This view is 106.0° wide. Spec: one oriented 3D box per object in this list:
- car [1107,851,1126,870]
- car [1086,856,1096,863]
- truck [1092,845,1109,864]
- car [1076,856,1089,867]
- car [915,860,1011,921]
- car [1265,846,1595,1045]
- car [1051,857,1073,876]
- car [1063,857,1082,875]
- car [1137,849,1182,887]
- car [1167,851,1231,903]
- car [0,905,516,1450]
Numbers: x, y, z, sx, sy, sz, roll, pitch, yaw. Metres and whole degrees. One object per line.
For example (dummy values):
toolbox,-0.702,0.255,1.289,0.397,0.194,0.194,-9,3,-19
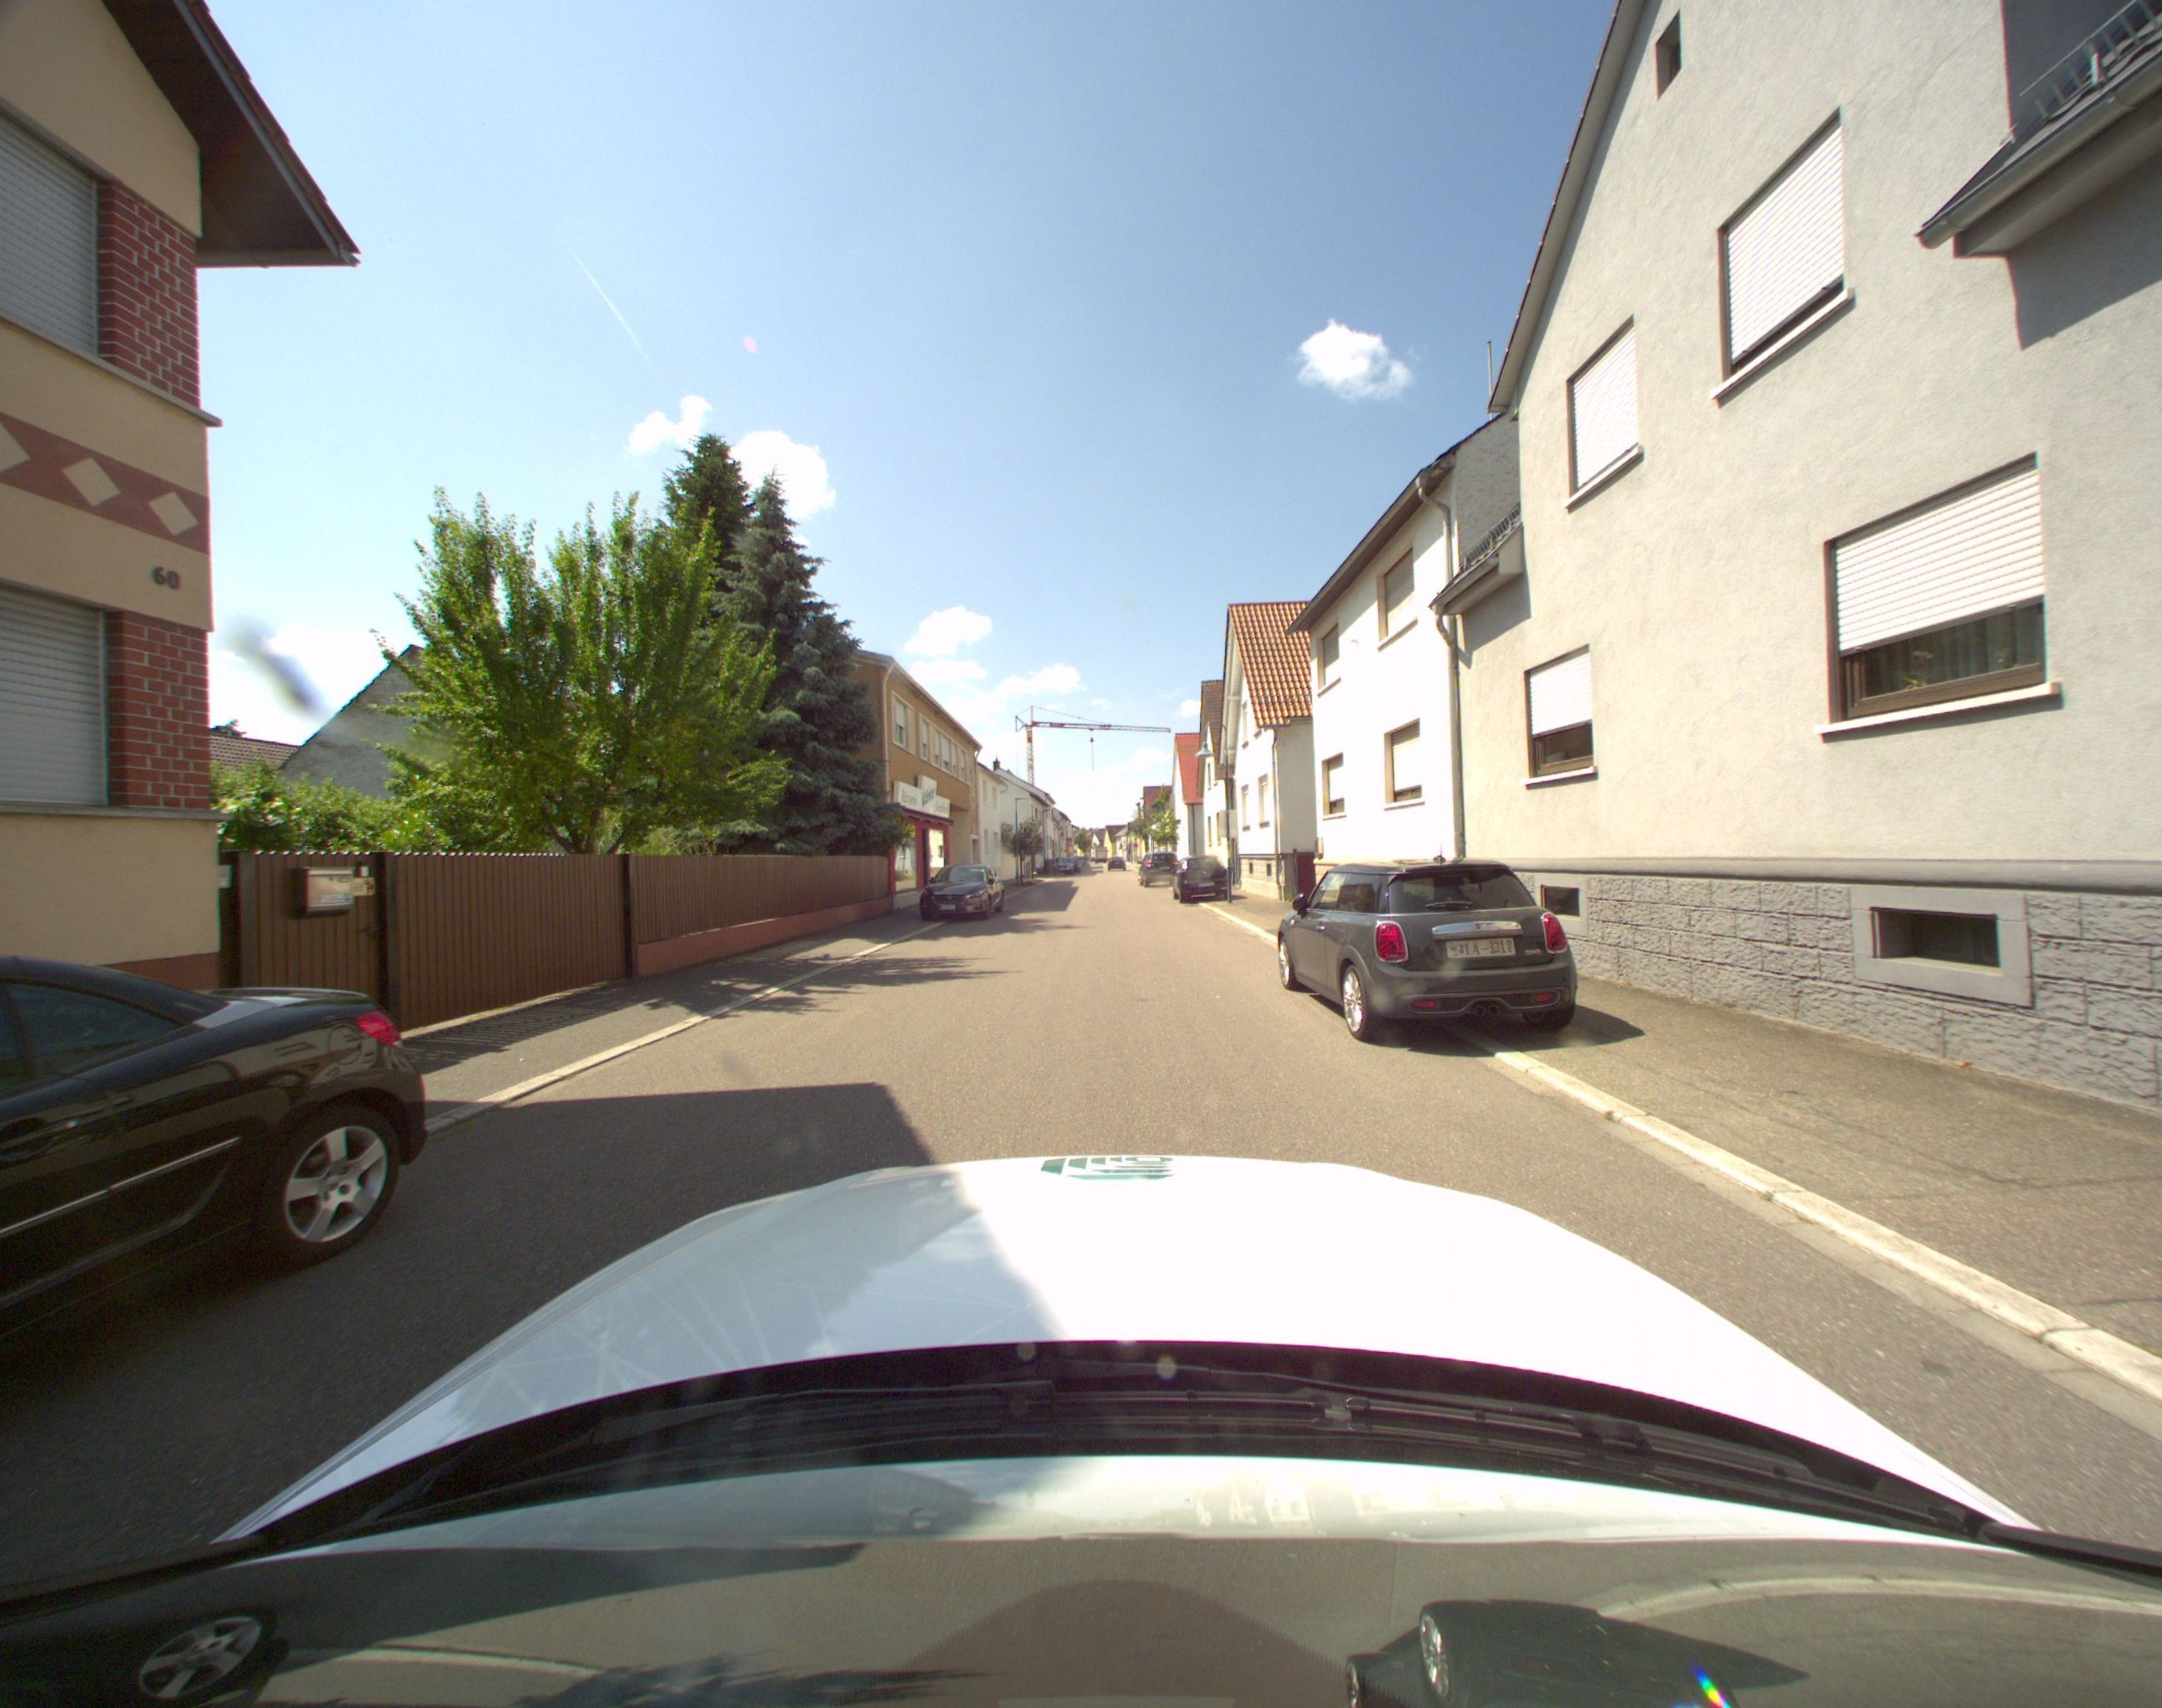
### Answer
car,3.599,0.681,83.397,1.777,1.753,4.000,-3,-1,1
car,2.991,1.619,234.693,1.824,1.753,4.208,-3,-1,-14
truck,4.249,0.211,180.023,3.368,3.865,13.925,-3,-1,0
car,0.253,1.016,118.235,1.716,1.555,4.174,-1,0,2
car,-3.184,0.951,22.928,1.760,1.460,4.440,-2,0,3
car,3.002,0.686,7.881,1.682,1.422,3.658,-2,0,2
car,-1.674,1.100,72.295,1.752,1.525,4.290,-2,0,1
car,-0.838,1.110,78.781,1.647,1.609,4.062,-2,0,1
car,3.805,0.644,40.191,1.723,1.717,4.274,-2,0,0
car,3.924,0.730,27.621,1.611,1.495,3.973,-5,0,1
car,-3.846,0.955,2.173,1.755,1.374,4.067,-1,0,1
